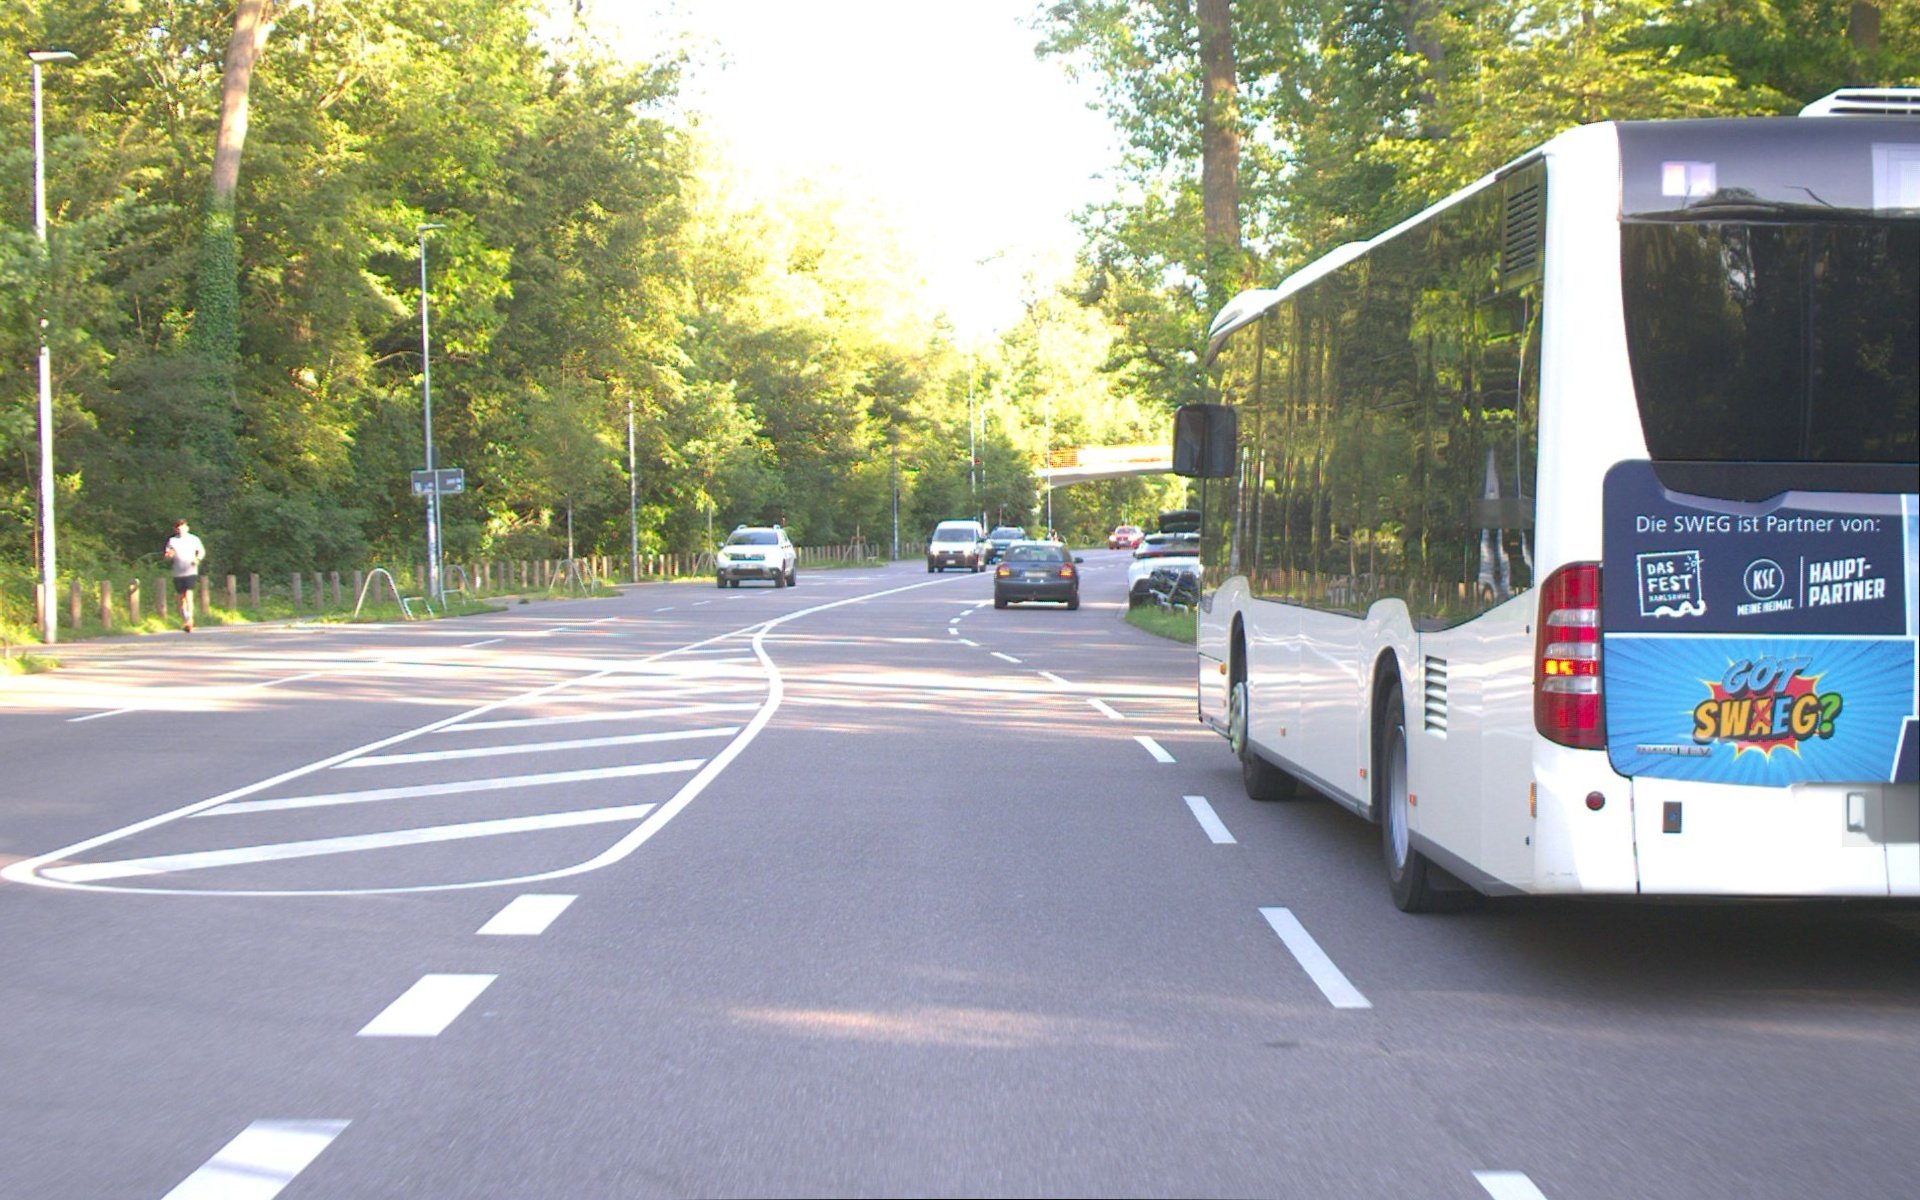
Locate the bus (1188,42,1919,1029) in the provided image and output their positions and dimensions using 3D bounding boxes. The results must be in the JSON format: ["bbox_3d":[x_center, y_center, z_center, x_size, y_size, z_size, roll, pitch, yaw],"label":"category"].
[{"bbox_3d":[2.970,-0.239,16.621,2.689,3.032,12.042,0,0,-1],"label":"bus"}]

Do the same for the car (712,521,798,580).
[{"bbox_3d":[-5.530,-1.327,92.979,1.863,1.532,4.131,0,0,3],"label":"car"}]

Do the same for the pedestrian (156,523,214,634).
[{"bbox_3d":[-12.692,-0.363,56.338,0.779,1.806,0.770,0,1,-1],"label":"pedestrian"}]

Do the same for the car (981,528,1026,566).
[{"bbox_3d":[1.870,-2.226,145.727,1.863,1.560,4.000,0,0,1],"label":"car"}]

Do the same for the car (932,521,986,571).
[{"bbox_3d":[-0.033,-1.900,121.841,1.863,1.723,4.000,0,0,0],"label":"car"}]

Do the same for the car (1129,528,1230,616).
[{"bbox_3d":[4.346,-0.550,67.736,1.632,1.653,4.130,0,0,8],"label":"car"}]

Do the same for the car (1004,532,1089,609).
[{"bbox_3d":[1.818,-0.613,71.139,1.632,1.542,4.131,0,0,3],"label":"car"}]
